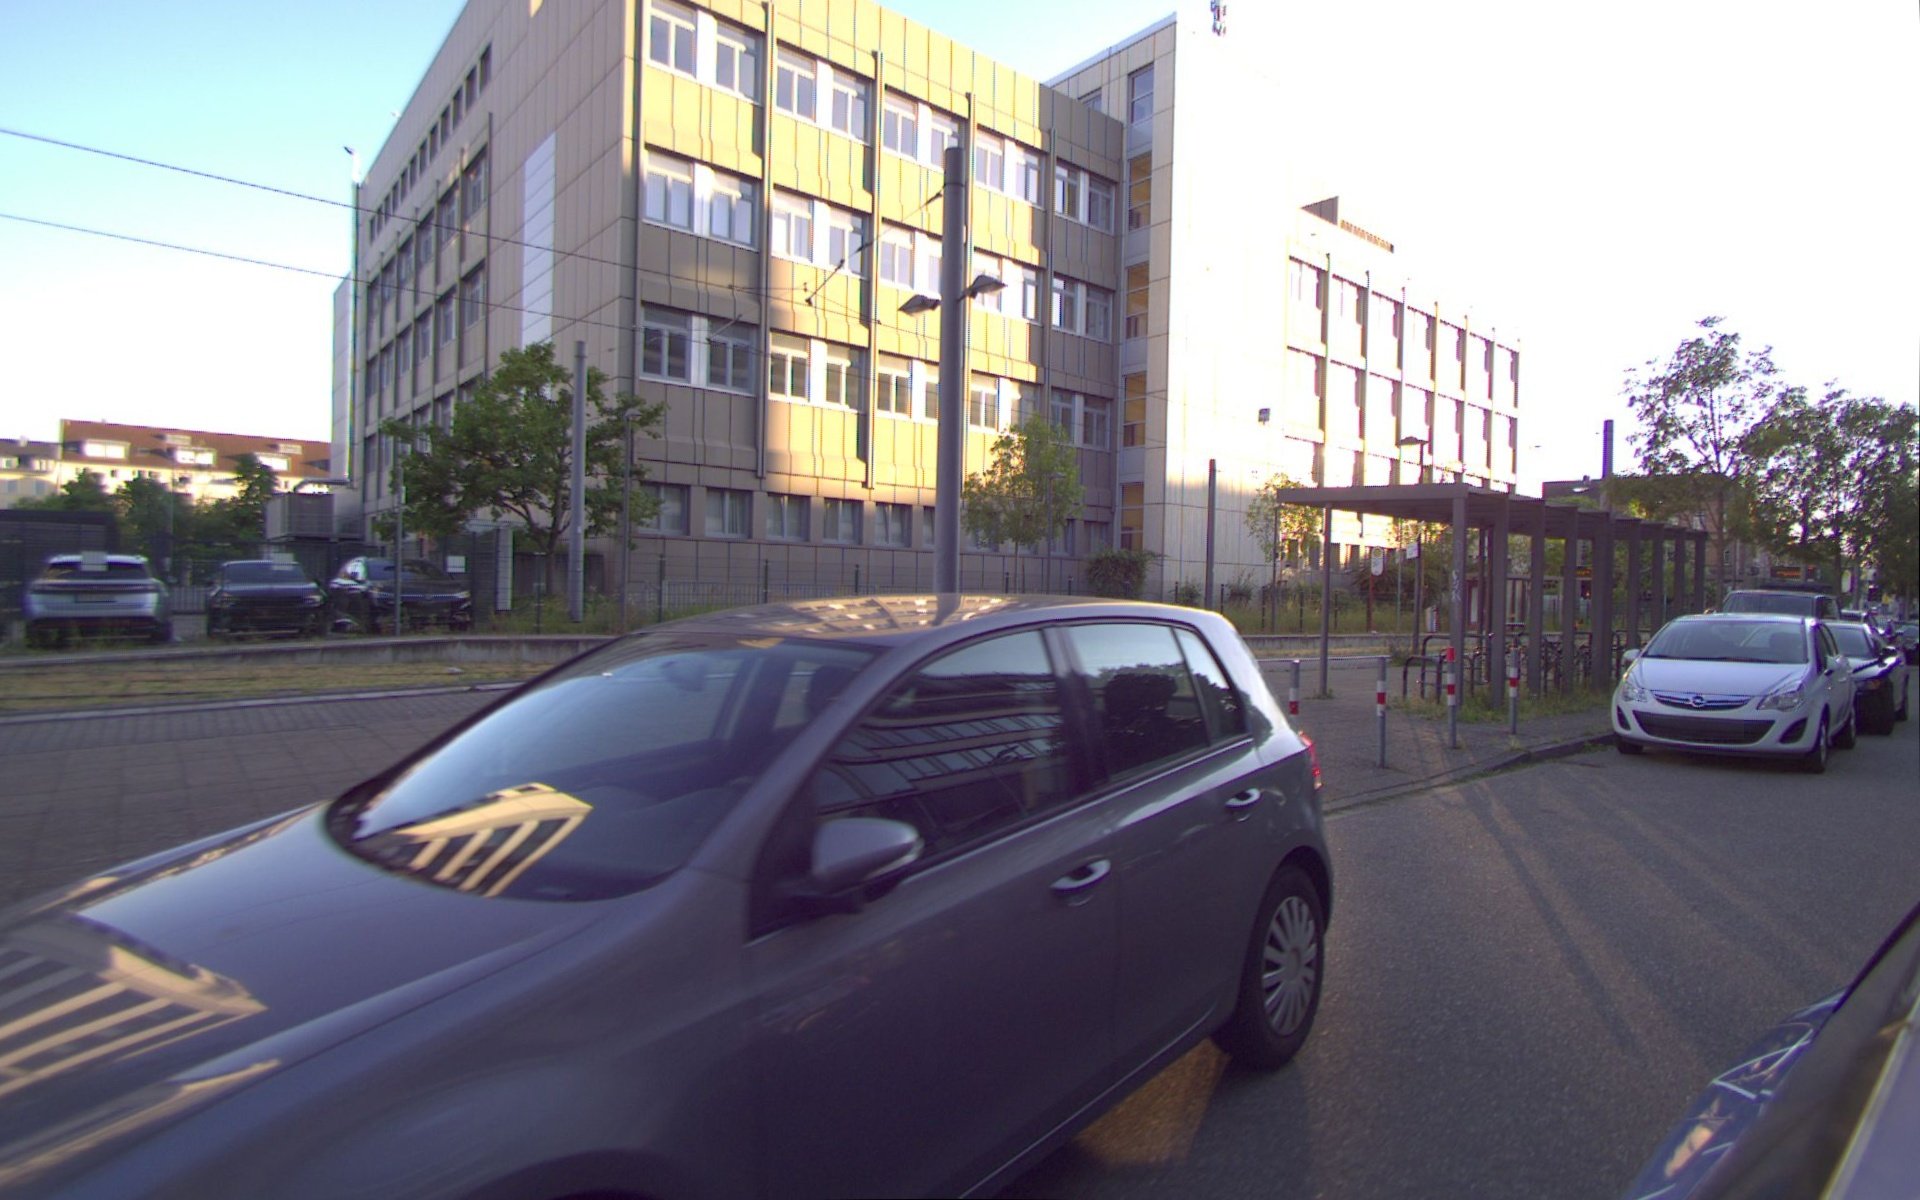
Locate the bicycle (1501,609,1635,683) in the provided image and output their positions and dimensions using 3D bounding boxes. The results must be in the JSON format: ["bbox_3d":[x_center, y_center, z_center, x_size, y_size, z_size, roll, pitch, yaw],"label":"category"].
[{"bbox_3d":[9.934,0.726,16.587,0.479,1.079,1.810,0,1,-40],"label":"bicycle"}]

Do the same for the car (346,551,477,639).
[{"bbox_3d":[-11.197,-0.156,20.529,1.645,1.505,3.998,1,3,-39],"label":"car"}]

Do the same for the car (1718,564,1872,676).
[{"bbox_3d":[18.590,0.398,22.454,4.653,2.203,1.808,1,2,-41],"label":"car"}]

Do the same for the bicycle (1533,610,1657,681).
[{"bbox_3d":[10.788,0.751,17.254,0.413,1.079,1.723,0,2,-40],"label":"bicycle"}]

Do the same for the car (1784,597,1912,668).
[{"bbox_3d":[23.023,0.798,26.188,4.398,1.600,1.712,1,2,-39],"label":"car"}]

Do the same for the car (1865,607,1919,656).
[{"bbox_3d":[31.391,1.024,33.436,3.930,1.469,1.711,1,2,-41],"label":"car"}]

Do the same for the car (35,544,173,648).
[{"bbox_3d":[-14.720,-0.143,17.546,1.645,1.505,3.998,1,3,-39],"label":"car"}]

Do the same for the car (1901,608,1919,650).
[{"bbox_3d":[37.520,1.173,38.485,4.694,1.514,1.802,1,4,-39],"label":"car"}]

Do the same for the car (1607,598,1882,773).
[{"bbox_3d":[8.446,0.756,10.759,4.116,1.470,1.678,1,0,-43],"label":"car"}]

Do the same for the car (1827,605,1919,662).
[{"bbox_3d":[27.408,0.957,30.206,4.058,1.511,1.711,1,2,-41],"label":"car"}]

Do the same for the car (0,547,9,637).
[{"bbox_3d":[-16.488,-0.065,16.089,1.645,1.505,3.998,1,3,-39],"label":"car"}]

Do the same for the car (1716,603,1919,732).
[{"bbox_3d":[12.025,0.820,13.980,4.439,1.470,1.789,1,0,-43],"label":"car"}]

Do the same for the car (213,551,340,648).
[{"bbox_3d":[-12.905,-0.073,19.000,1.645,1.505,3.998,1,3,-39],"label":"car"}]

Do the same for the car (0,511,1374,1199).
[{"bbox_3d":[-0.436,0.667,2.760,1.729,1.484,3.941,-1,-1,41],"label":"car"}]
